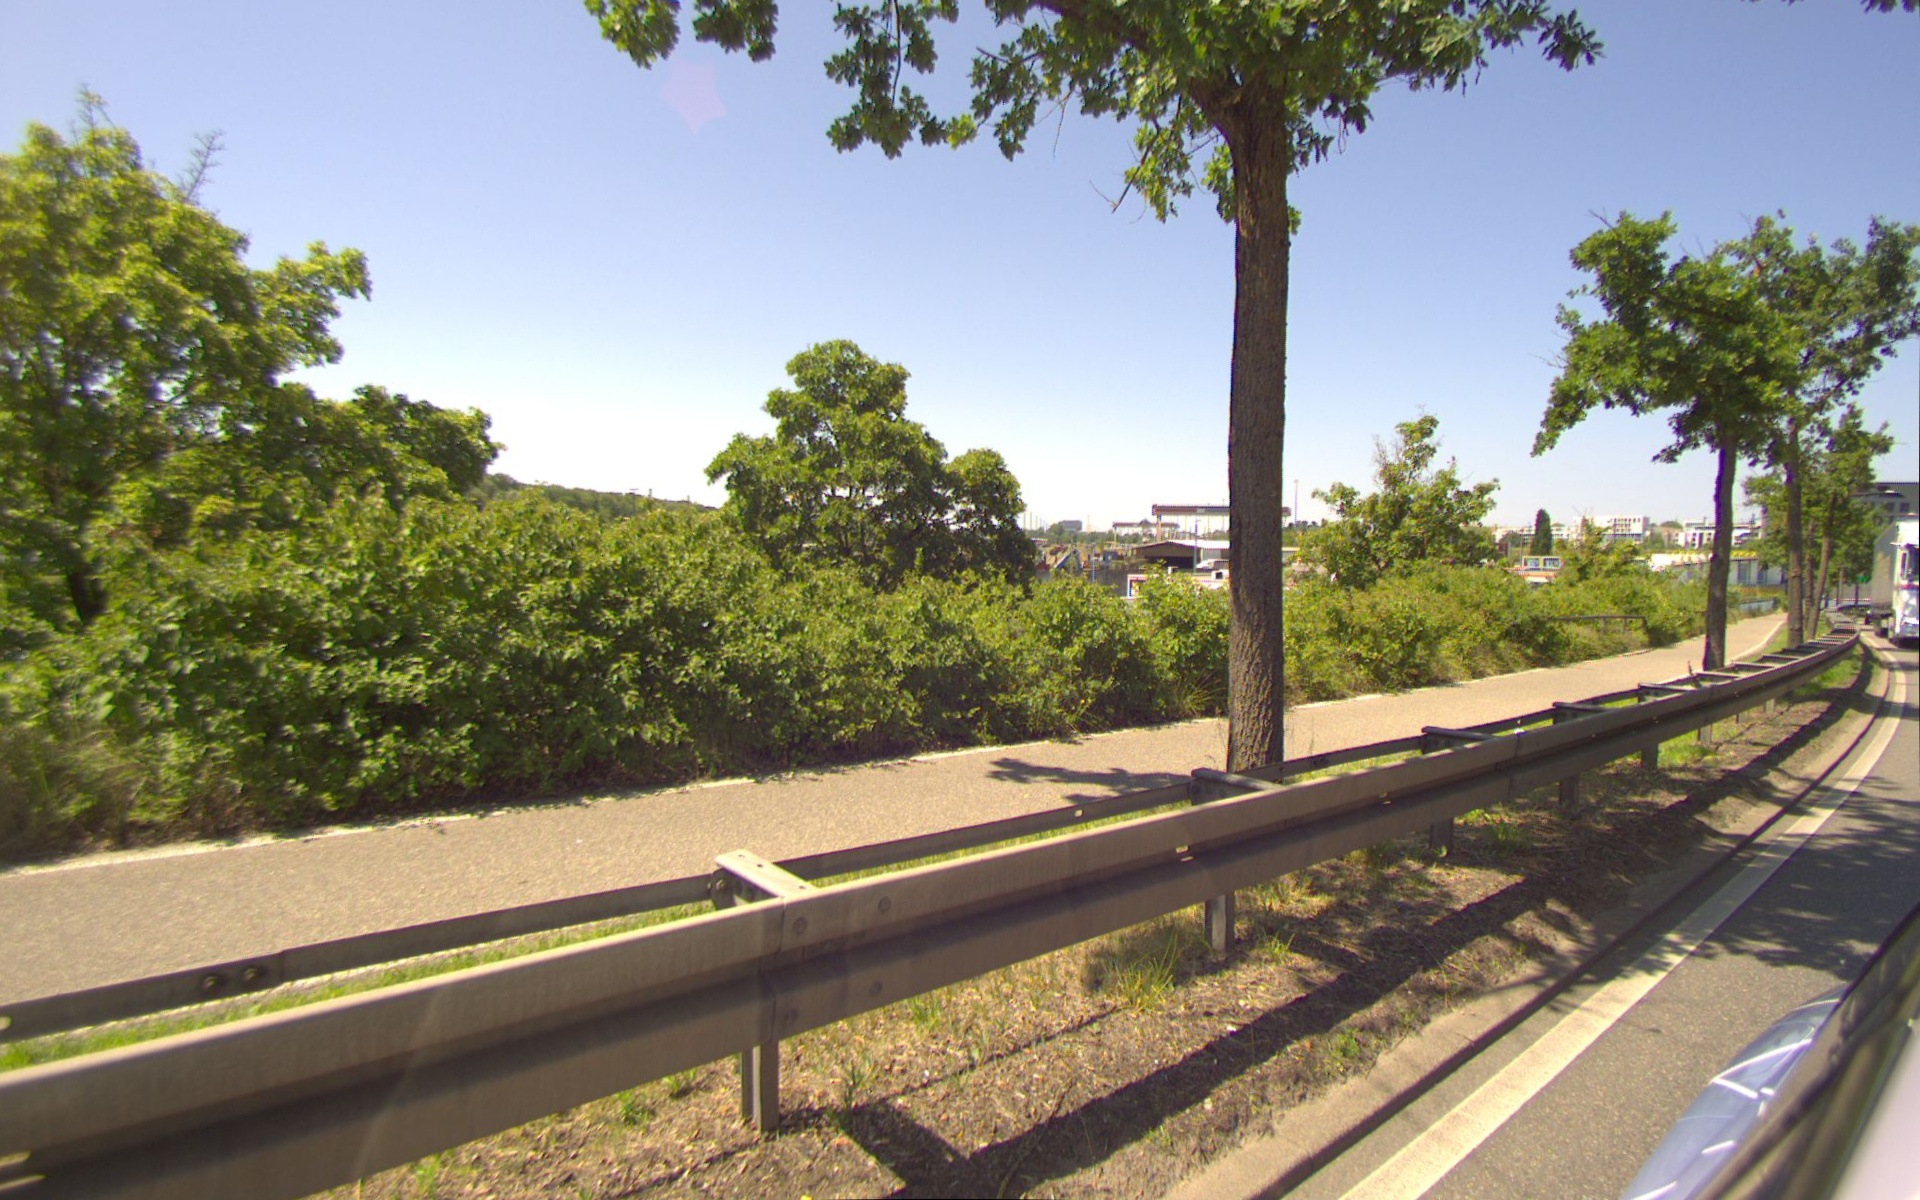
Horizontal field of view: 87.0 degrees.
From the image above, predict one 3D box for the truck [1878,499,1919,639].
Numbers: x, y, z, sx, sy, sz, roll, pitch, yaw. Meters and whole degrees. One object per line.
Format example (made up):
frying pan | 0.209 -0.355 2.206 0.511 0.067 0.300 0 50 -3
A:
truck | 35.247 -0.994 36.093 3.059 4.223 16.666 0 1 40
